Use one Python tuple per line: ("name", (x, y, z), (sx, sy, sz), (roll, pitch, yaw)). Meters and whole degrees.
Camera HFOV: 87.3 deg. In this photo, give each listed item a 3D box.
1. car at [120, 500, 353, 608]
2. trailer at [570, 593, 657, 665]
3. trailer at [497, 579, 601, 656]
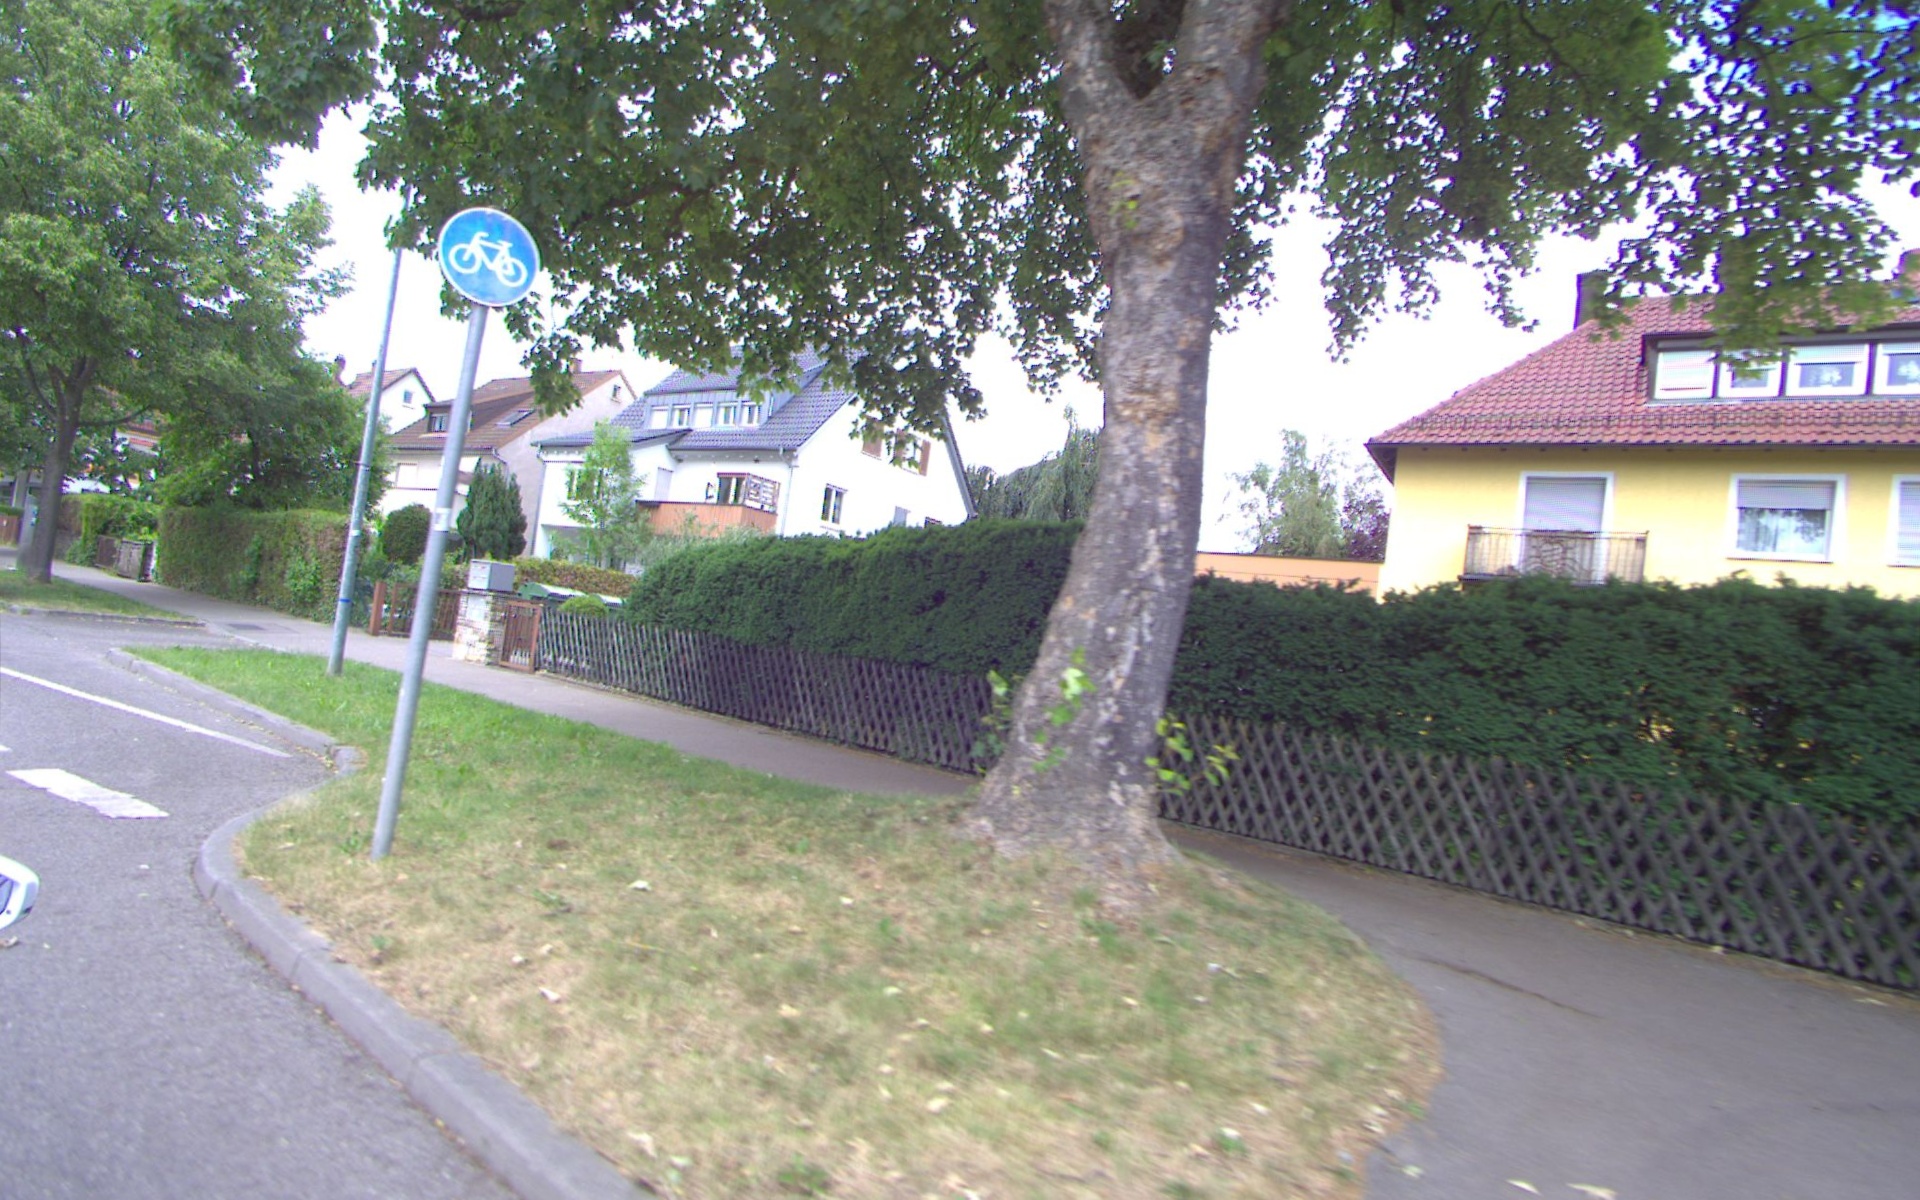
("car", (-23.758, -1.429, 33.342), (1.965, 2.621, 5.723), (7, -2, 33))
("trailer", (-8.155, 0.689, 23.721), (0.967, 1.433, 1.474), (6, -5, 32))
("trailer", (-9.062, 0.405, 22.215), (1.131, 1.388, 1.586), (6, -5, 32))
